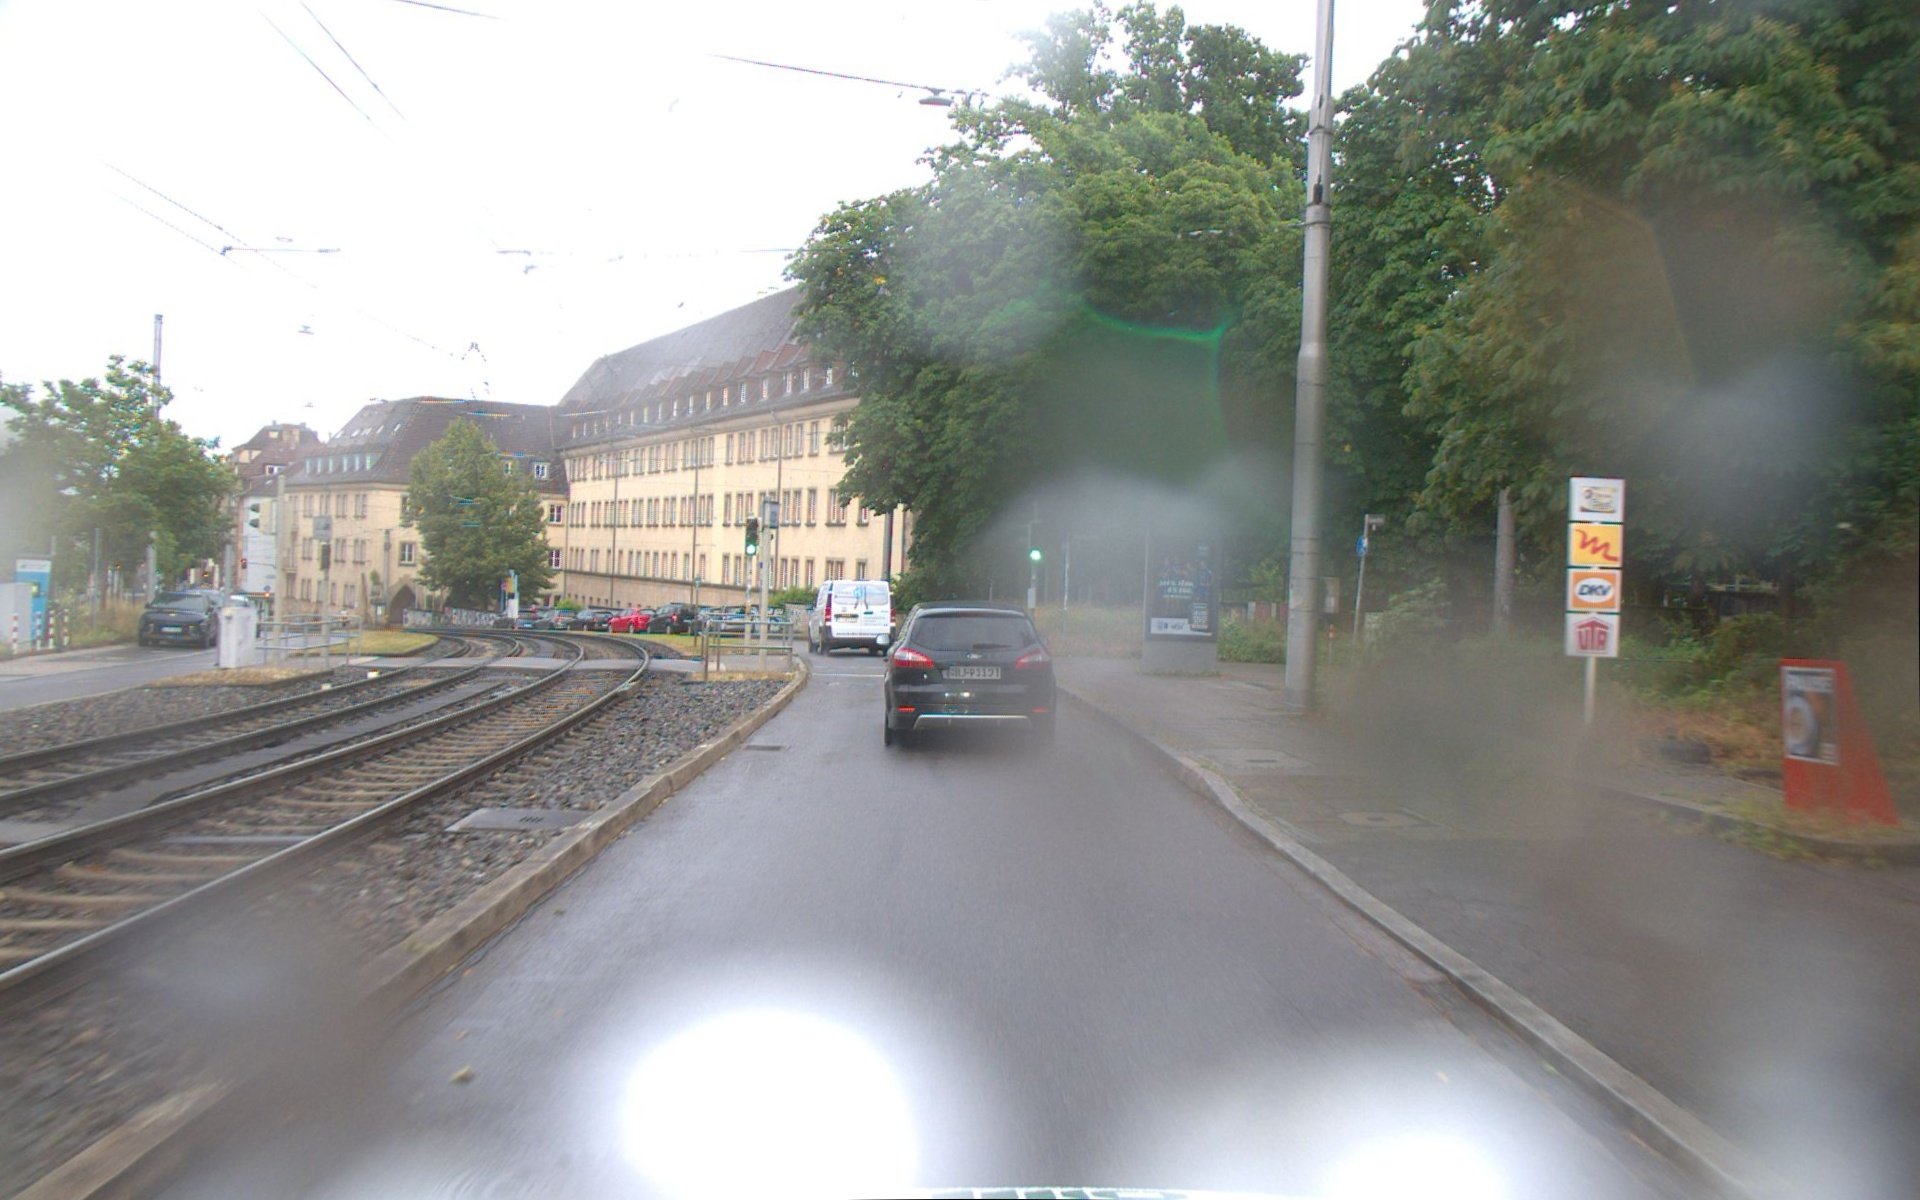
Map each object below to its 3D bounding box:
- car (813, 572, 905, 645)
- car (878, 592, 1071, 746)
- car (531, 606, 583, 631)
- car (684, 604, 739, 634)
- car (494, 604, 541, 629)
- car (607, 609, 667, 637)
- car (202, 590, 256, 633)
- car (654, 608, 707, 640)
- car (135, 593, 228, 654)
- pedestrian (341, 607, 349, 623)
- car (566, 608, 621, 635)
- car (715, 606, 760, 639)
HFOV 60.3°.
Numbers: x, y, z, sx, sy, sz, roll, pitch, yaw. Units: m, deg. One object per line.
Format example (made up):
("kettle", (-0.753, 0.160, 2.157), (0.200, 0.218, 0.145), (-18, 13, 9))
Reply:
("car", (-2.650, 0.202, 42.583), (2.096, 1.776, 4.211), (0, 0, -8))
("car", (0.090, 0.672, 18.175), (1.881, 1.505, 3.999), (0, 0, -2))
("car", (-24.423, 1.120, 100.159), (1.653, 1.502, 4.055), (-1, 0, -36))
("car", (-12.273, 0.919, 81.602), (1.519, 1.441, 3.609), (-1, 0, -29))
("car", (-28.095, 1.028, 104.986), (1.651, 1.551, 4.060), (-1, 0, -34))
("car", (-17.792, 1.285, 91.052), (1.654, 1.502, 4.011), (2, -2, -38))
("car", (-27.841, 0.455, 63.032), (1.446, 1.558, 2.918), (3, -1, -16))
("car", (-14.670, 1.262, 86.619), (1.646, 1.600, 3.820), (-1, 0, -28))
("car", (-22.926, 0.698, 48.832), (1.964, 1.633, 4.190), (4, -2, -20))
("pedestrian", (-52.505, 1.268, 141.142), (0.501, 1.338, 0.504), (1, -1, -37))
("car", (-21.157, 1.253, 95.399), (1.651, 1.502, 4.405), (-1, 0, -34))
("car", (-10.540, 1.035, 78.120), (1.574, 1.491, 2.705), (-1, 0, -20))
